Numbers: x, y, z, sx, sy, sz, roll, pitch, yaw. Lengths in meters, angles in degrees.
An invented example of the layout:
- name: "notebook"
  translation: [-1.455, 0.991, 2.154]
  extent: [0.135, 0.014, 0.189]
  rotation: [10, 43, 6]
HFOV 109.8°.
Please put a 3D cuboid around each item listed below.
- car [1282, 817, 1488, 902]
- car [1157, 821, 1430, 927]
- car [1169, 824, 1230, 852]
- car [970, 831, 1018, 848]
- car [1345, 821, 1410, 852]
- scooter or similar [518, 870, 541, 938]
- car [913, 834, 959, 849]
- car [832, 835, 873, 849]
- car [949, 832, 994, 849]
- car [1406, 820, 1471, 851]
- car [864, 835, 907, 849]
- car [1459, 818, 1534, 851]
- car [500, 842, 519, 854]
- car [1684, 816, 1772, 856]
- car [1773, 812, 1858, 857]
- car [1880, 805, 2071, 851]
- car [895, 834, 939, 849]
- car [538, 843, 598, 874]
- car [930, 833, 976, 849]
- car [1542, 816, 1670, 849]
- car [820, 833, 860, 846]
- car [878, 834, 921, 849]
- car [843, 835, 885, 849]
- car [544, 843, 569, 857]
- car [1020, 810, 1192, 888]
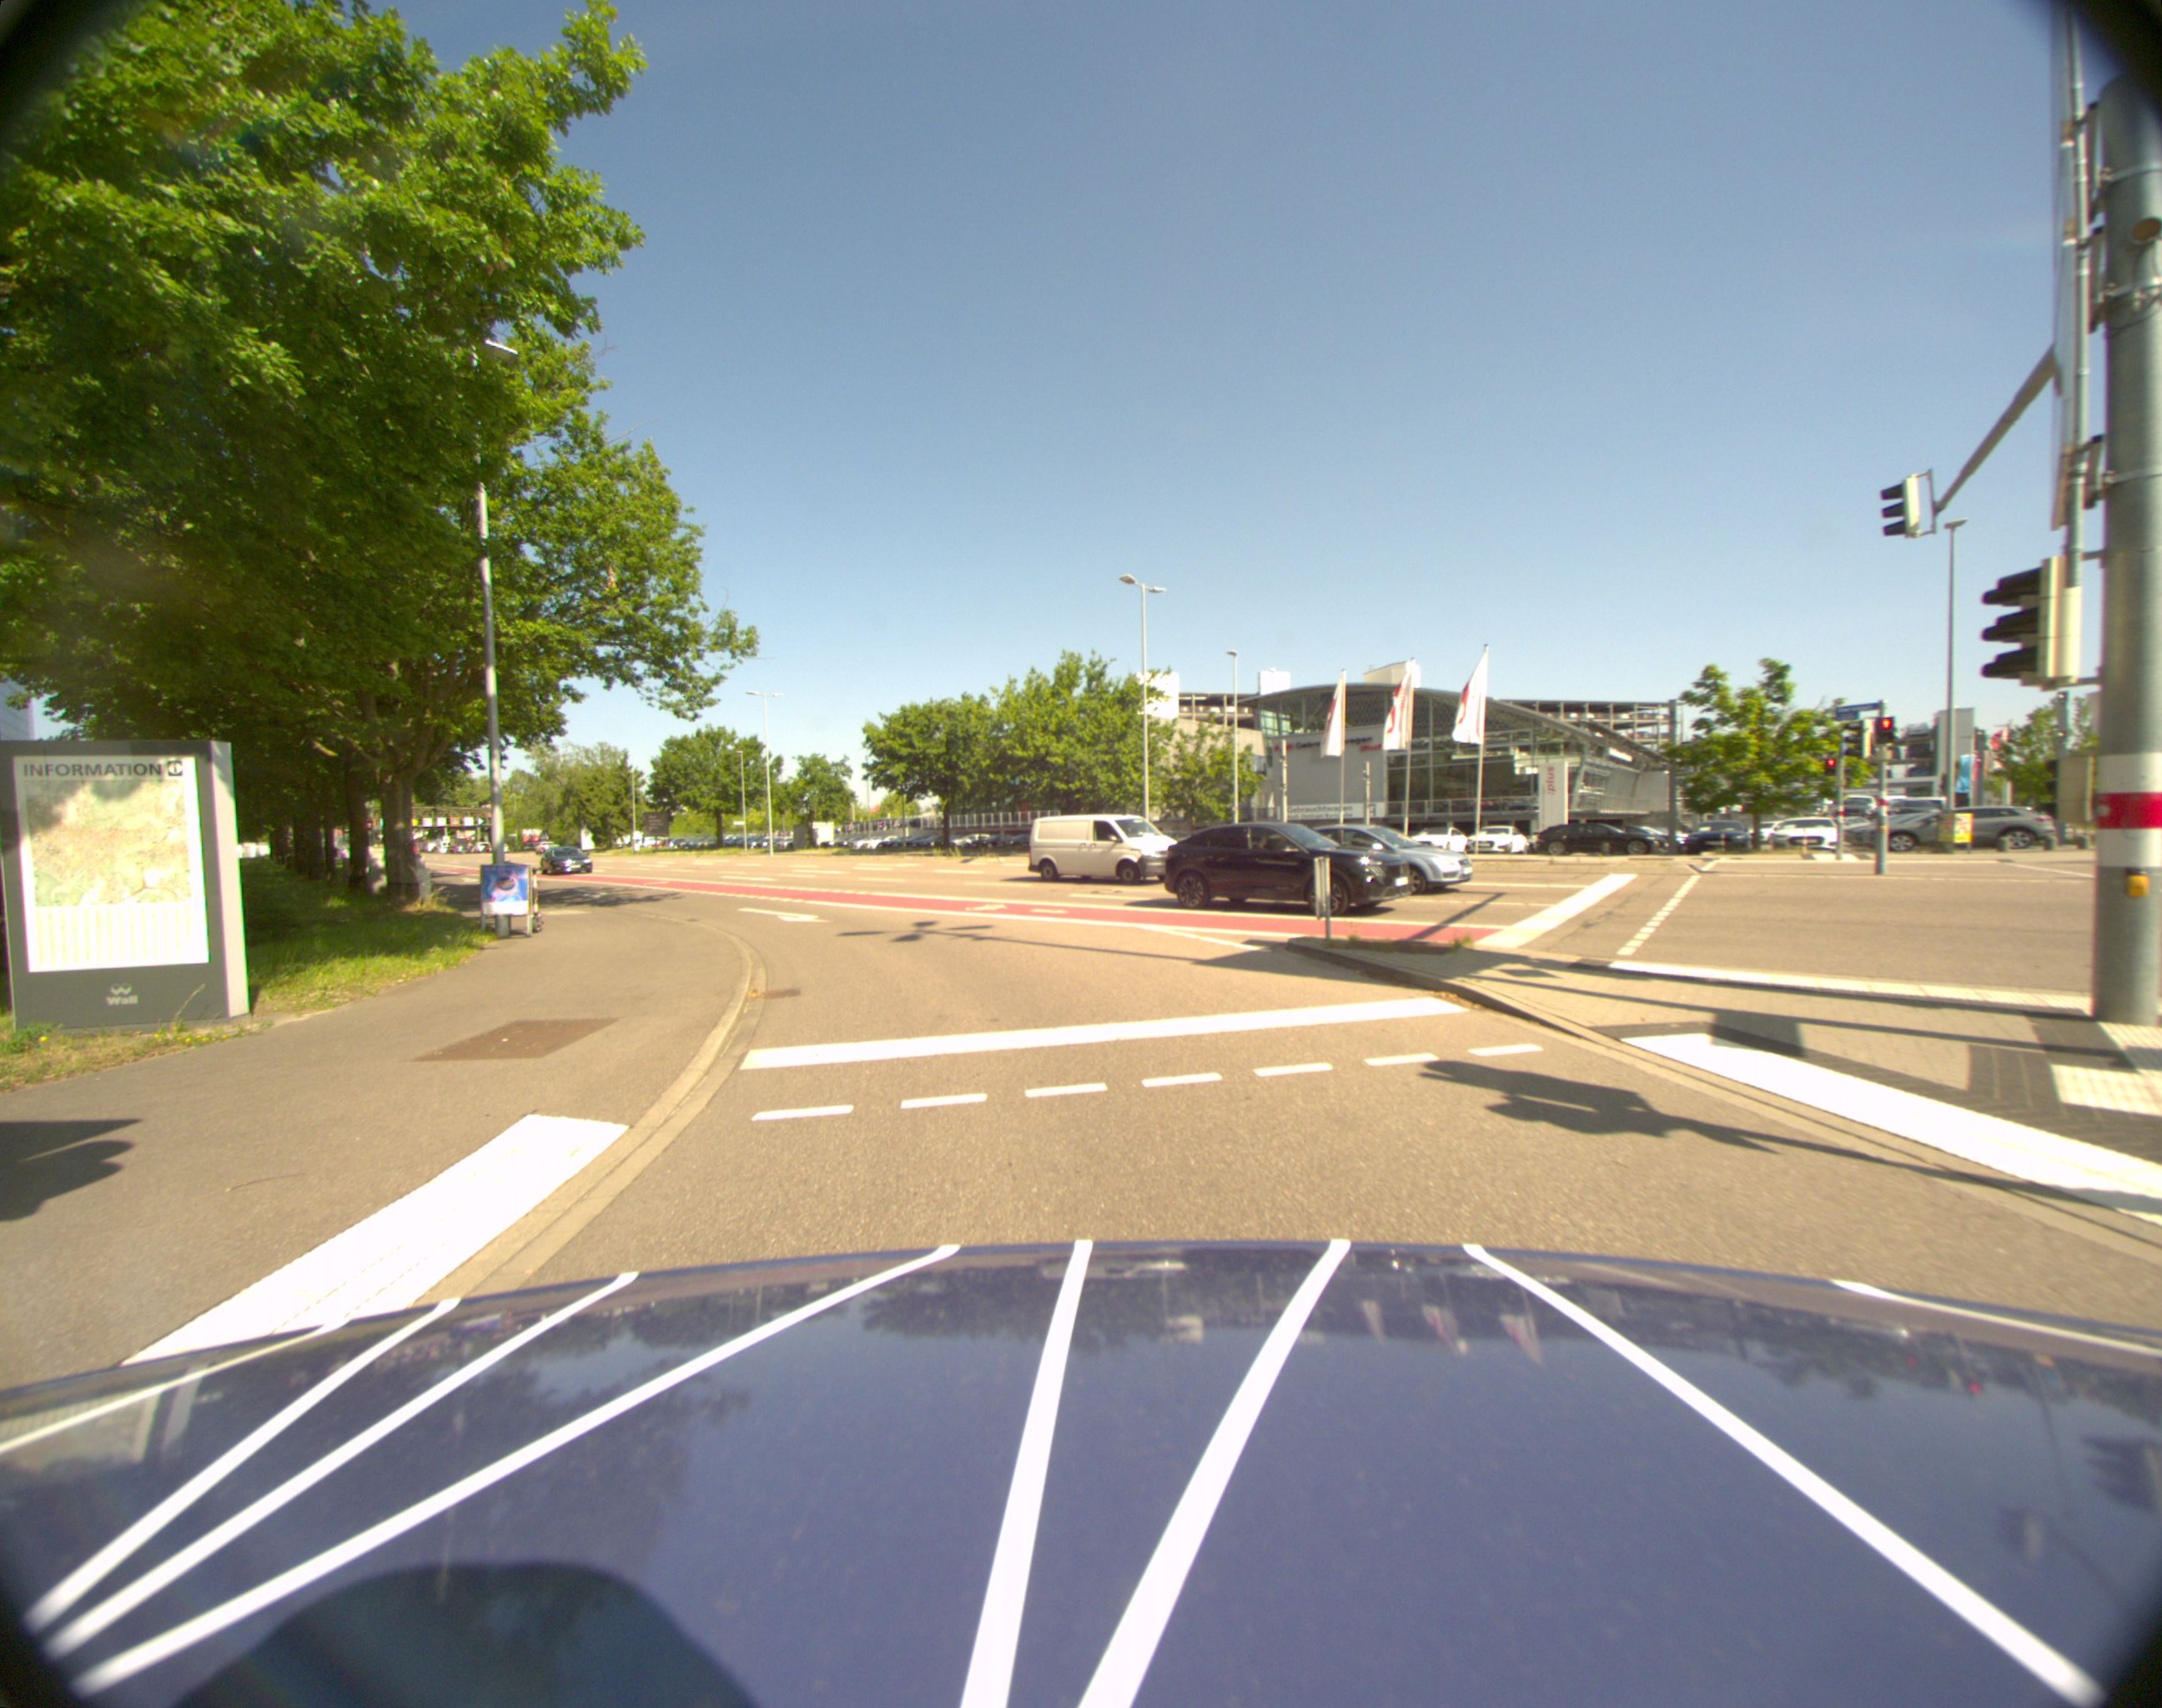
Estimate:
- name: "car"
  translation: [6.586, 0.063, 16.741]
  extent: [1.763, 1.604, 3.820]
  rotation: [-4, 3, -40]
- name: "car"
  translation: [3.762, 0.317, 13.994]
  extent: [4.491, 1.618, 1.718]
  rotation: [-1, 3, 43]
- name: "car"
  translation: [7.212, -0.990, 45.946]
  extent: [1.781, 1.565, 3.896]
  rotation: [1, 3, 42]
- name: "car"
  translation: [-6.824, -1.157, 59.684]
  extent: [3.423, 1.242, 1.591]
  rotation: [-3, 3, -42]
- name: "car"
  translation: [15.304, -0.927, 39.148]
  extent: [1.883, 1.538, 3.896]
  rotation: [1, 3, 42]
- name: "scooter or similar"
  translation: [-10.265, 0.904, 14.164]
  extent: [0.256, 1.175, 1.387]
  rotation: [-3, 3, -34]
- name: "car"
  translation: [-12.223, -1.065, 64.208]
  extent: [3.423, 1.242, 1.591]
  rotation: [-3, 3, -41]
- name: "car"
  translation: [-22.160, -1.139, 73.610]
  extent: [3.423, 1.242, 1.591]
  rotation: [-3, 3, -42]
- name: "car"
  translation: [-8.829, -1.098, 61.158]
  extent: [3.177, 1.317, 1.636]
  rotation: [-3, 3, -42]
- name: "car"
  translation: [17.357, -0.918, 36.809]
  extent: [1.781, 1.462, 3.896]
  rotation: [1, 3, 42]
- name: "car"
  translation: [-18.046, -1.142, 70.123]
  extent: [3.423, 1.242, 1.591]
  rotation: [-3, 3, -42]
- name: "car"
  translation: [19.259, -0.916, 35.133]
  extent: [1.999, 1.414, 4.122]
  rotation: [1, 3, 44]
- name: "car"
  translation: [-94.475, -1.009, 125.594]
  extent: [2.003, 2.003, 3.988]
  rotation: [-4, 3, -43]
- name: "car"
  translation: [25.248, -0.730, 29.618]
  extent: [4.007, 1.452, 1.994]
  rotation: [-2, 2, -41]
- name: "car"
  translation: [27.116, -0.744, 28.025]
  extent: [4.007, 1.453, 1.883]
  rotation: [-4, 3, -41]
- name: "car"
  translation: [33.153, -0.939, 28.414]
  extent: [1.983, 1.578, 4.468]
  rotation: [-3, 3, -45]
- name: "car"
  translation: [-14.331, -1.127, 66.407]
  extent: [3.423, 1.242, 1.591]
  rotation: [-3, 3, -42]
- name: "car"
  translation: [-27.513, 0.204, 40.686]
  extent: [4.226, 1.457, 1.775]
  rotation: [1, 5, 45]
- name: "car"
  translation: [-10.556, -1.115, 62.696]
  extent: [3.423, 1.242, 1.591]
  rotation: [-3, 3, -42]
- name: "car"
  translation: [22.725, -0.919, 32.968]
  extent: [4.338, 1.342, 1.825]
  rotation: [1, 3, 43]
- name: "car"
  translation: [-23.825, -1.468, 75.157]
  extent: [3.423, 1.242, 1.591]
  rotation: [-3, 3, -42]
- name: "car"
  translation: [-16.365, -1.138, 68.476]
  extent: [3.423, 1.242, 1.591]
  rotation: [-3, 3, -42]
- name: "car"
  translation: [-20.483, -1.132, 71.851]
  extent: [3.423, 1.242, 1.591]
  rotation: [-3, 3, -42]
- name: "car"
  translation: [-69.268, -0.563, 100.334]
  extent: [2.173, 1.666, 4.500]
  rotation: [-4, 3, -41]
- name: "car"
  translation: [0.602, -0.175, 21.964]
  extent: [4.985, 1.997, 1.744]
  rotation: [1, 4, 43]
